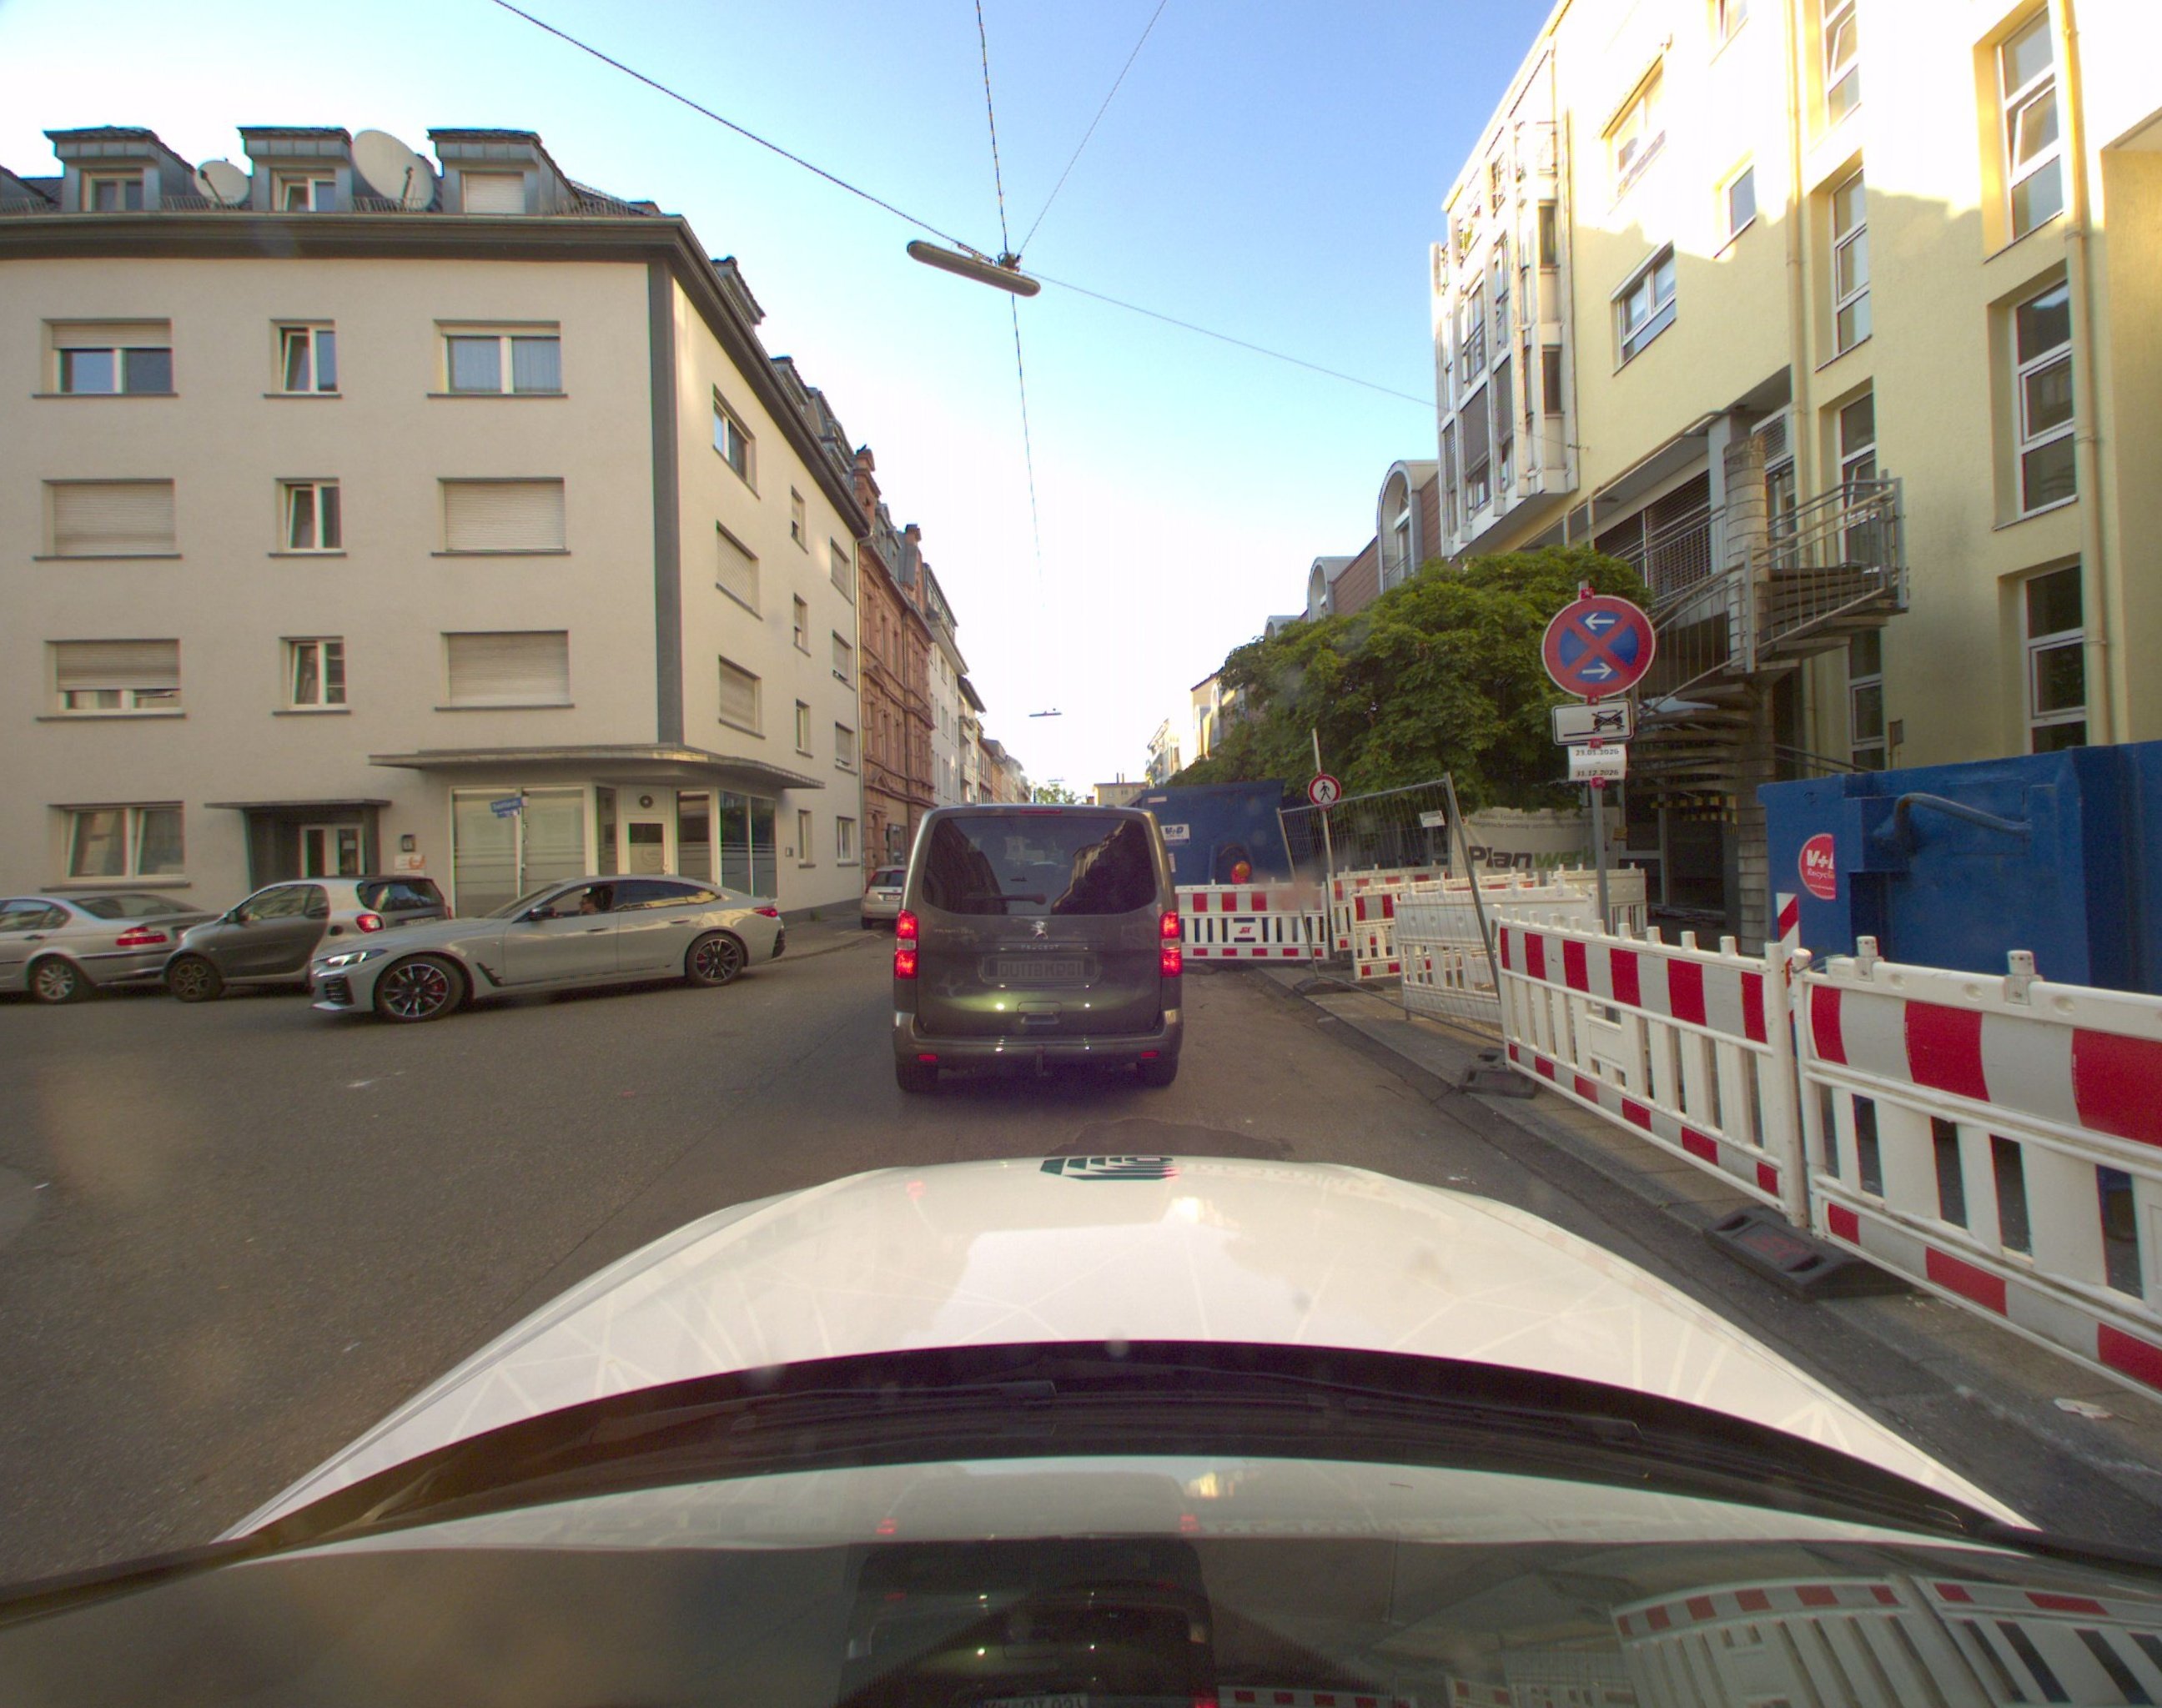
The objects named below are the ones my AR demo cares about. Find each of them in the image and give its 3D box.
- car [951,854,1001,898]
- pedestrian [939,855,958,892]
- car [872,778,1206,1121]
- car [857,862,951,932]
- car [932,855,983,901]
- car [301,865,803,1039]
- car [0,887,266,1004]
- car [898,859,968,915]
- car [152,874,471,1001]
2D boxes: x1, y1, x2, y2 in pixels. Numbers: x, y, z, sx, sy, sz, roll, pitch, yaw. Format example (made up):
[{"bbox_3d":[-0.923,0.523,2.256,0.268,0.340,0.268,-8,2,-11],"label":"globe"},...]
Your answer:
[{"bbox_3d":[-4.539,0.935,35.626,1.888,1.720,3.748,3,-1,-4],"label":"car"},{"bbox_3d":[-6.141,0.883,37.747,0.739,1.664,0.702,-2,0,-5],"label":"pedestrian"},{"bbox_3d":[-0.374,0.552,6.733,1.862,1.886,4.228,-1,-1,-4],"label":"car"},{"bbox_3d":[-4.149,0.963,19.568,1.653,1.460,3.412,3,-1,-4],"label":"car"},{"bbox_3d":[-4.800,0.922,31.985,1.663,1.666,3.087,3,-1,-4],"label":"car"},{"bbox_3d":[-6.151,0.956,9.940,4.839,1.451,1.910,-2,0,-44],"label":"car"},{"bbox_3d":[-14.207,1.235,11.224,4.193,1.403,1.602,-1,0,-2],"label":"car"},{"bbox_3d":[-4.450,0.962,24.888,1.653,1.525,3.412,3,-1,-4],"label":"car"},{"bbox_3d":[-10.287,1.073,11.054,2.778,1.540,1.593,-1,0,-1],"label":"car"}]
